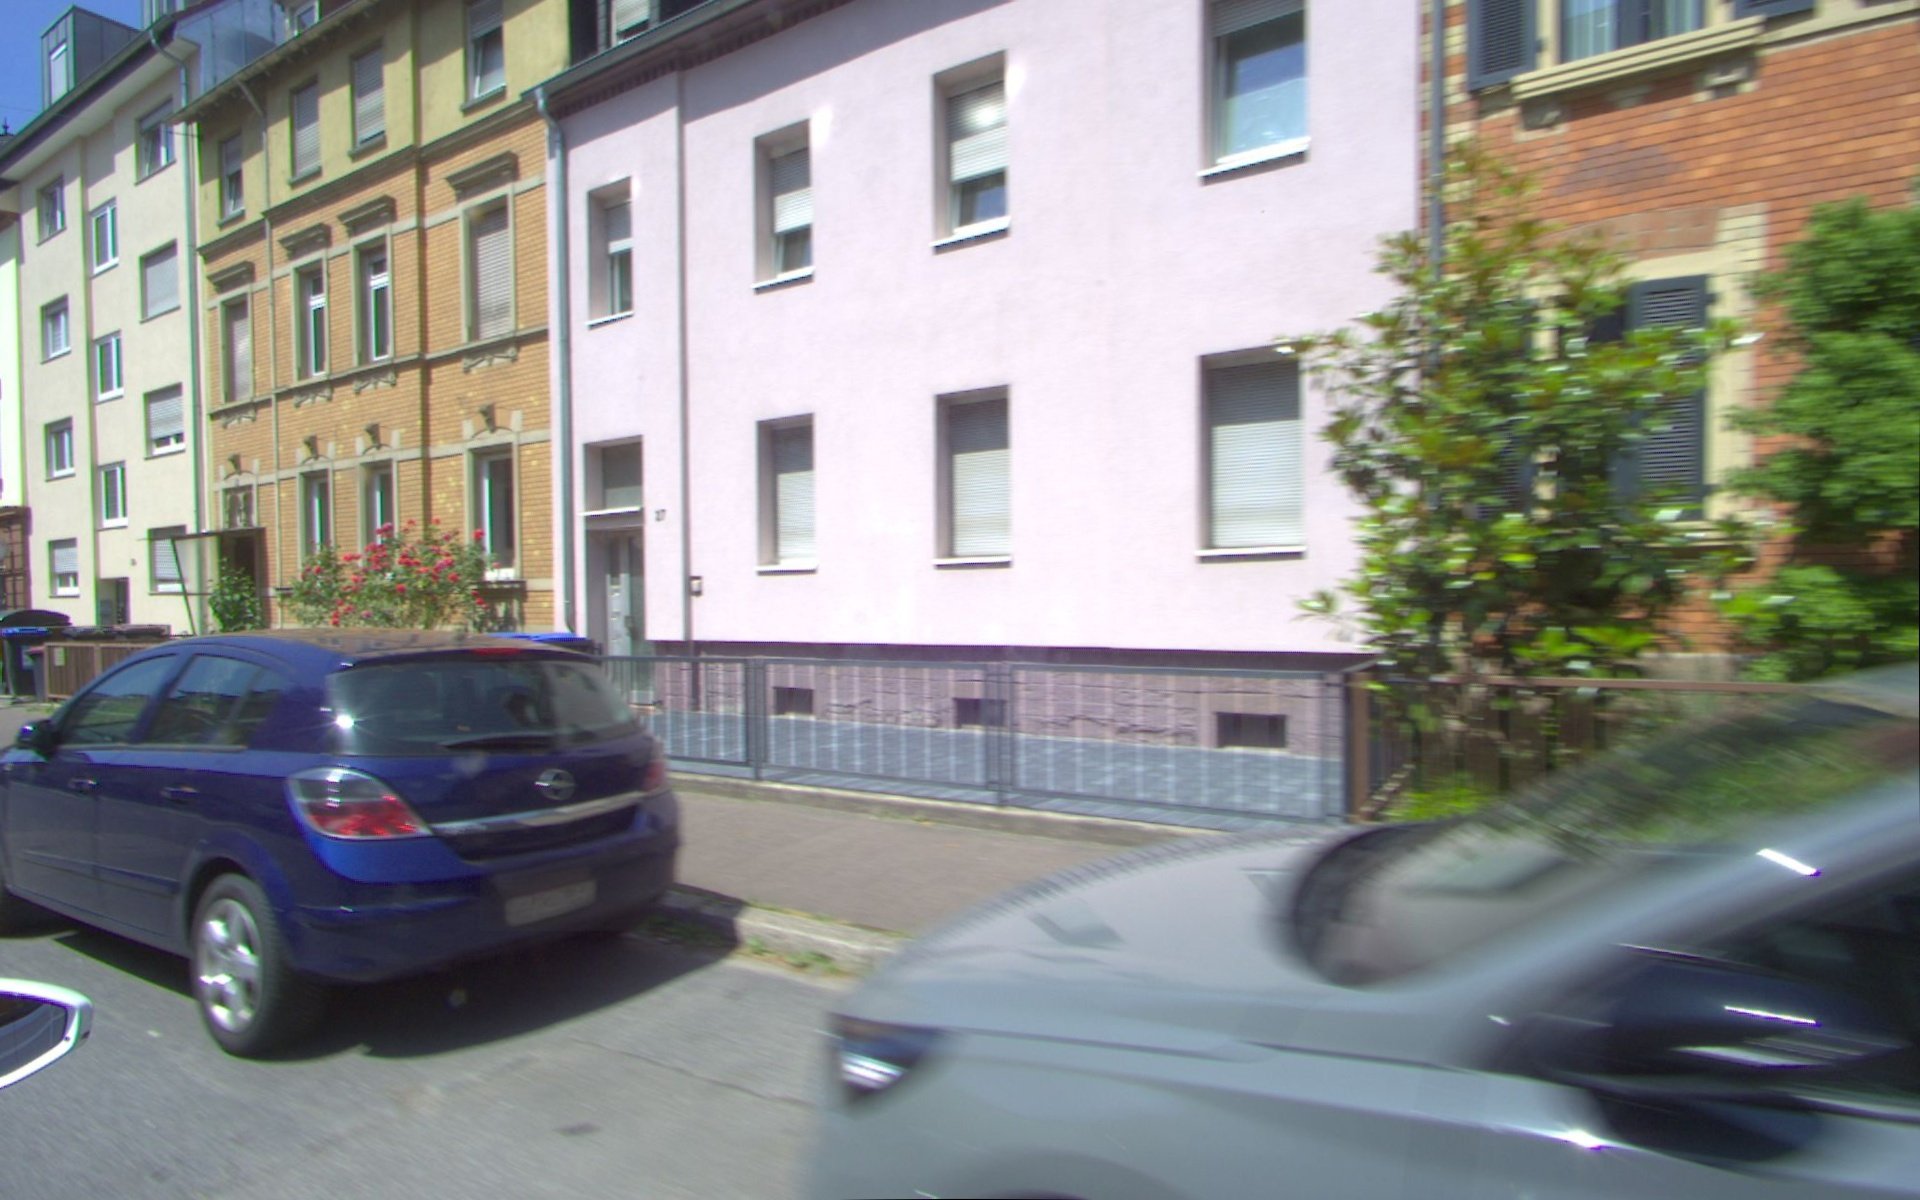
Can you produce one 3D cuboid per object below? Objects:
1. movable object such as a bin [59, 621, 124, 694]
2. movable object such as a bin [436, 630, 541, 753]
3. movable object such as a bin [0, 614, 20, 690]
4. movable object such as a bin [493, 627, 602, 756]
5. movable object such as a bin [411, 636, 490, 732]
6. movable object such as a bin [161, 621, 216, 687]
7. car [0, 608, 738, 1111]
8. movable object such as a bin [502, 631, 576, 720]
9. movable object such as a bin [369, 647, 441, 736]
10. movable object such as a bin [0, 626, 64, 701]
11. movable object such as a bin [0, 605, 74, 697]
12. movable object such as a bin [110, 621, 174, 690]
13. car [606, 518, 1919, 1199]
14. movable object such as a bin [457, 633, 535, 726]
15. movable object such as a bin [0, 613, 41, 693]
[{"bbox_3d":[-14.894,0.968,17.172,0.840,1.202,0.637,0,-1,34],"label":"movable object such as a bin"},{"bbox_3d":[-4.506,0.844,9.578,0.674,1.097,0.650,0,1,34],"label":"movable object such as a bin"},{"bbox_3d":[-18.513,0.963,18.772,1.237,1.420,1.040,0,-1,33],"label":"movable object such as a bin"},{"bbox_3d":[-3.777,0.810,9.175,0.674,1.097,0.650,0,1,34],"label":"movable object such as a bin"},{"bbox_3d":[-5.891,0.956,11.592,0.658,1.046,0.527,0,1,31],"label":"movable object such as a bin"},{"bbox_3d":[-14.158,0.980,18.378,0.617,1.192,0.637,0,-1,34],"label":"movable object such as a bin"},{"bbox_3d":[-3.372,0.821,4.908,4.550,1.506,1.693,-1,-2,31],"label":"car"},{"bbox_3d":[-5.299,0.937,12.599,0.657,1.064,0.558,0,1,30],"label":"movable object such as a bin"},{"bbox_3d":[-6.192,1.007,11.175,0.556,0.925,0.467,0,1,30],"label":"movable object such as a bin"},{"bbox_3d":[-15.283,1.019,16.459,0.898,1.192,0.637,0,-1,34],"label":"movable object such as a bin"},{"bbox_3d":[-16.311,0.866,17.407,1.426,1.538,1.040,0,-1,34],"label":"movable object such as a bin"},{"bbox_3d":[-14.517,0.975,17.778,0.840,1.192,0.667,0,-1,34],"label":"movable object such as a bin"},{"bbox_3d":[1.655,0.700,1.579,4.244,1.506,1.859,0,-2,29],"label":"car"},{"bbox_3d":[-5.599,0.940,12.084,0.657,1.064,0.558,0,1,30],"label":"movable object such as a bin"},{"bbox_3d":[-17.481,0.939,18.086,1.237,1.420,1.040,0,-1,33],"label":"movable object such as a bin"}]
